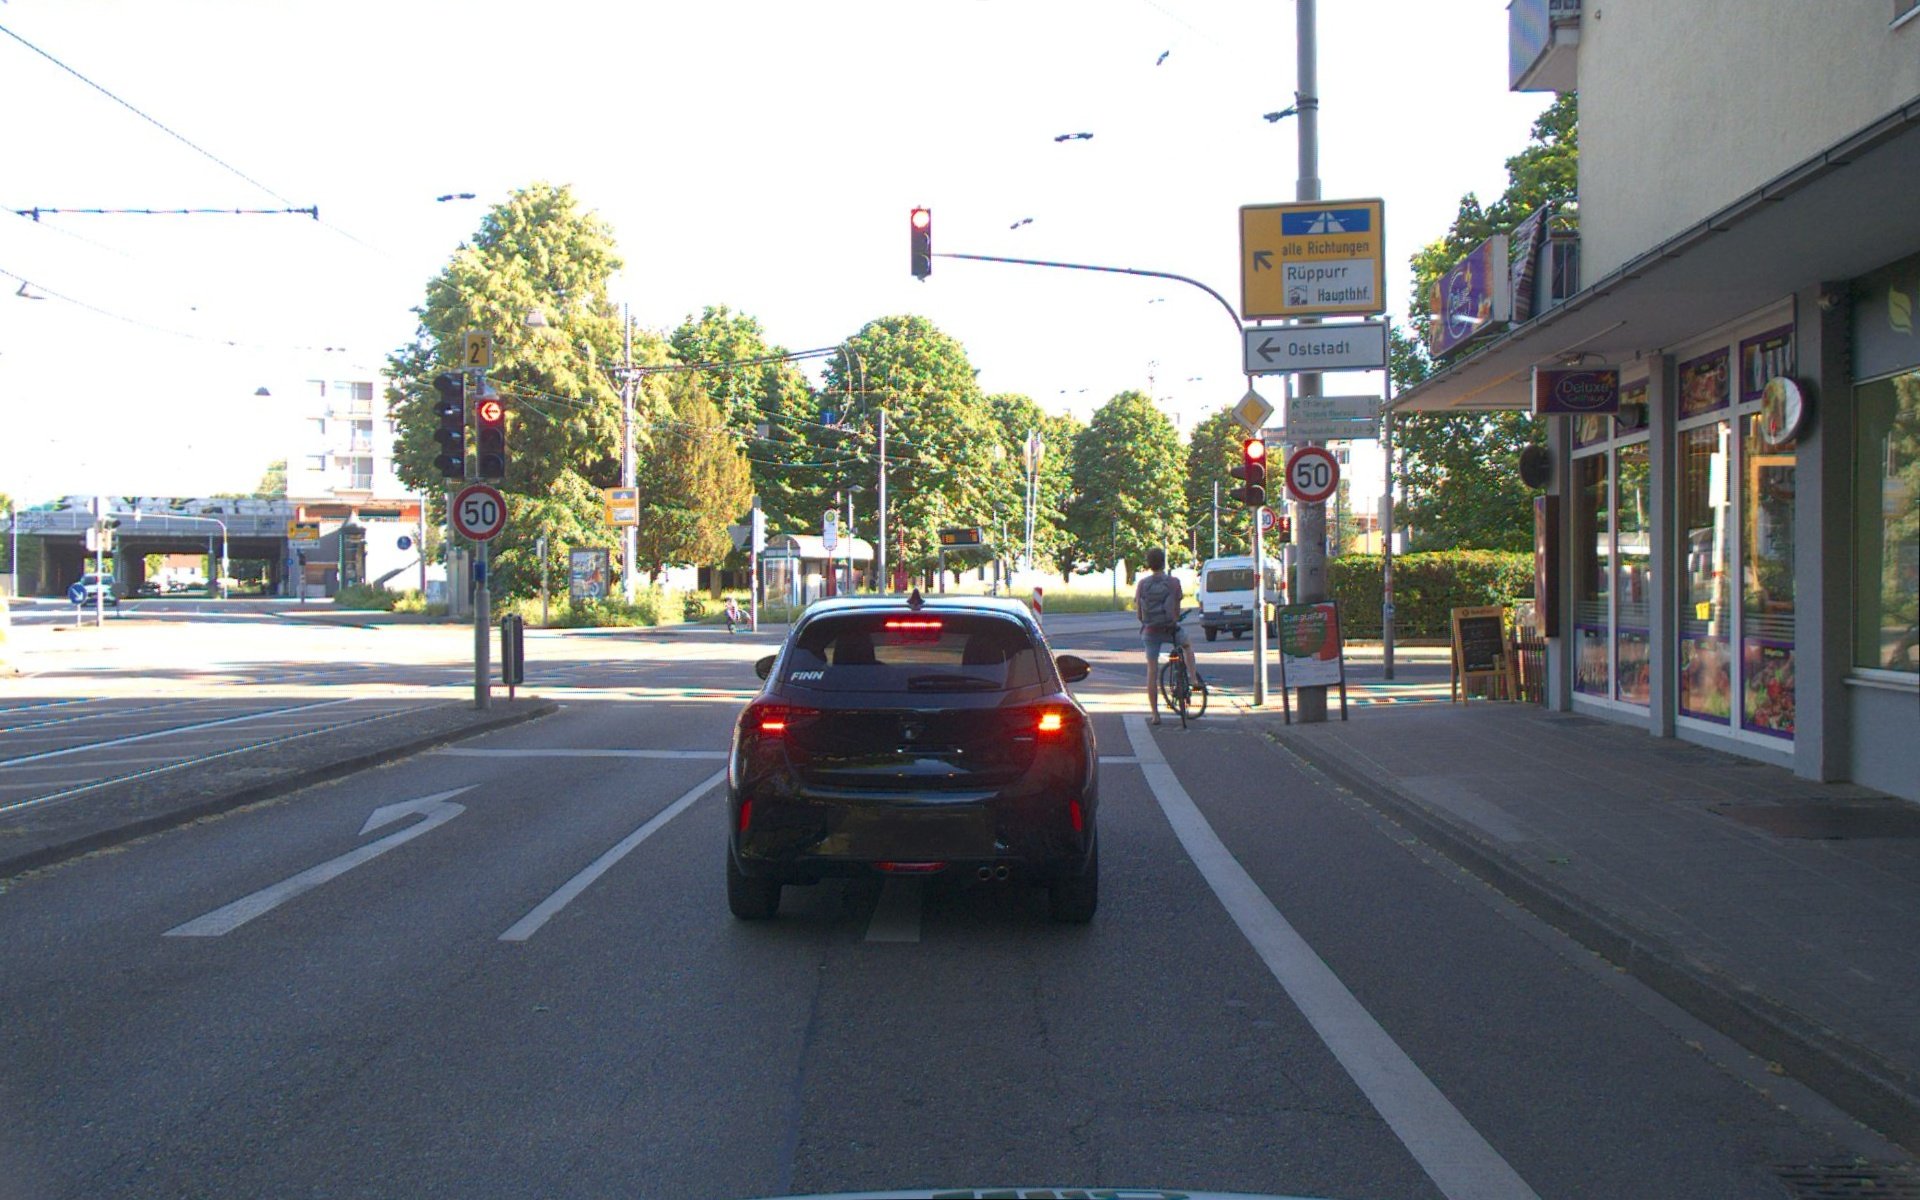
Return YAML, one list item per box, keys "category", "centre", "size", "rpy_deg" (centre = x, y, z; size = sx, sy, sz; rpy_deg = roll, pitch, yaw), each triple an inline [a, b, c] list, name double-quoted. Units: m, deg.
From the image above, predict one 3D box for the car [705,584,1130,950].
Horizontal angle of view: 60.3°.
- category: "car"
  centre: [-0.188, 0.658, 8.737]
  size: [1.692, 1.454, 4.186]
  rpy_deg: [1, 0, -1]

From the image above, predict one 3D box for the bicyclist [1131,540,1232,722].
- category: "bicyclist"
  centre: [2.352, 0.315, 17.651]
  size: [0.922, 1.883, 0.864]
  rpy_deg: [-1, 0, -1]

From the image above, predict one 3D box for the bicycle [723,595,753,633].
- category: "bicycle"
  centre: [-6.215, 0.381, 46.375]
  size: [0.593, 1.049, 1.982]
  rpy_deg: [0, 1, -1]

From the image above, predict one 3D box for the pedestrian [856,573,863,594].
- category: "pedestrian"
  centre: [-6.880, -1.123, 113.238]
  size: [0.404, 1.437, 0.436]
  rpy_deg: [2, 0, -3]

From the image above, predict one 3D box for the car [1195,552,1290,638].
- category: "car"
  centre: [8.015, -0.155, 46.580]
  size: [2.020, 2.288, 4.890]
  rpy_deg: [0, 1, 17]

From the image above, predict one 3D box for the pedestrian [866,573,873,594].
- category: "pedestrian"
  centre: [-6.168, -1.103, 113.030]
  size: [0.404, 1.437, 0.436]
  rpy_deg: [2, 0, -1]

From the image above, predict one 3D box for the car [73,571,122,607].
- category: "car"
  centre: [-45.464, -0.580, 87.165]
  size: [2.189, 1.855, 4.106]
  rpy_deg: [-1, 1, -29]

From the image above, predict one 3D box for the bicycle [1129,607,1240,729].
- category: "bicycle"
  centre: [2.361, 0.689, 17.686]
  size: [0.842, 1.173, 2.171]
  rpy_deg: [-1, 1, -1]

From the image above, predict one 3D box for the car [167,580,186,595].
- category: "car"
  centre: [-100.354, -1.617, 211.857]
  size: [1.971, 1.981, 4.458]
  rpy_deg: [-1, 1, -28]

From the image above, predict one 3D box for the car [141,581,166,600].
- category: "car"
  centre: [-72.772, -0.846, 149.259]
  size: [1.969, 1.630, 4.211]
  rpy_deg: [-1, 1, -26]
